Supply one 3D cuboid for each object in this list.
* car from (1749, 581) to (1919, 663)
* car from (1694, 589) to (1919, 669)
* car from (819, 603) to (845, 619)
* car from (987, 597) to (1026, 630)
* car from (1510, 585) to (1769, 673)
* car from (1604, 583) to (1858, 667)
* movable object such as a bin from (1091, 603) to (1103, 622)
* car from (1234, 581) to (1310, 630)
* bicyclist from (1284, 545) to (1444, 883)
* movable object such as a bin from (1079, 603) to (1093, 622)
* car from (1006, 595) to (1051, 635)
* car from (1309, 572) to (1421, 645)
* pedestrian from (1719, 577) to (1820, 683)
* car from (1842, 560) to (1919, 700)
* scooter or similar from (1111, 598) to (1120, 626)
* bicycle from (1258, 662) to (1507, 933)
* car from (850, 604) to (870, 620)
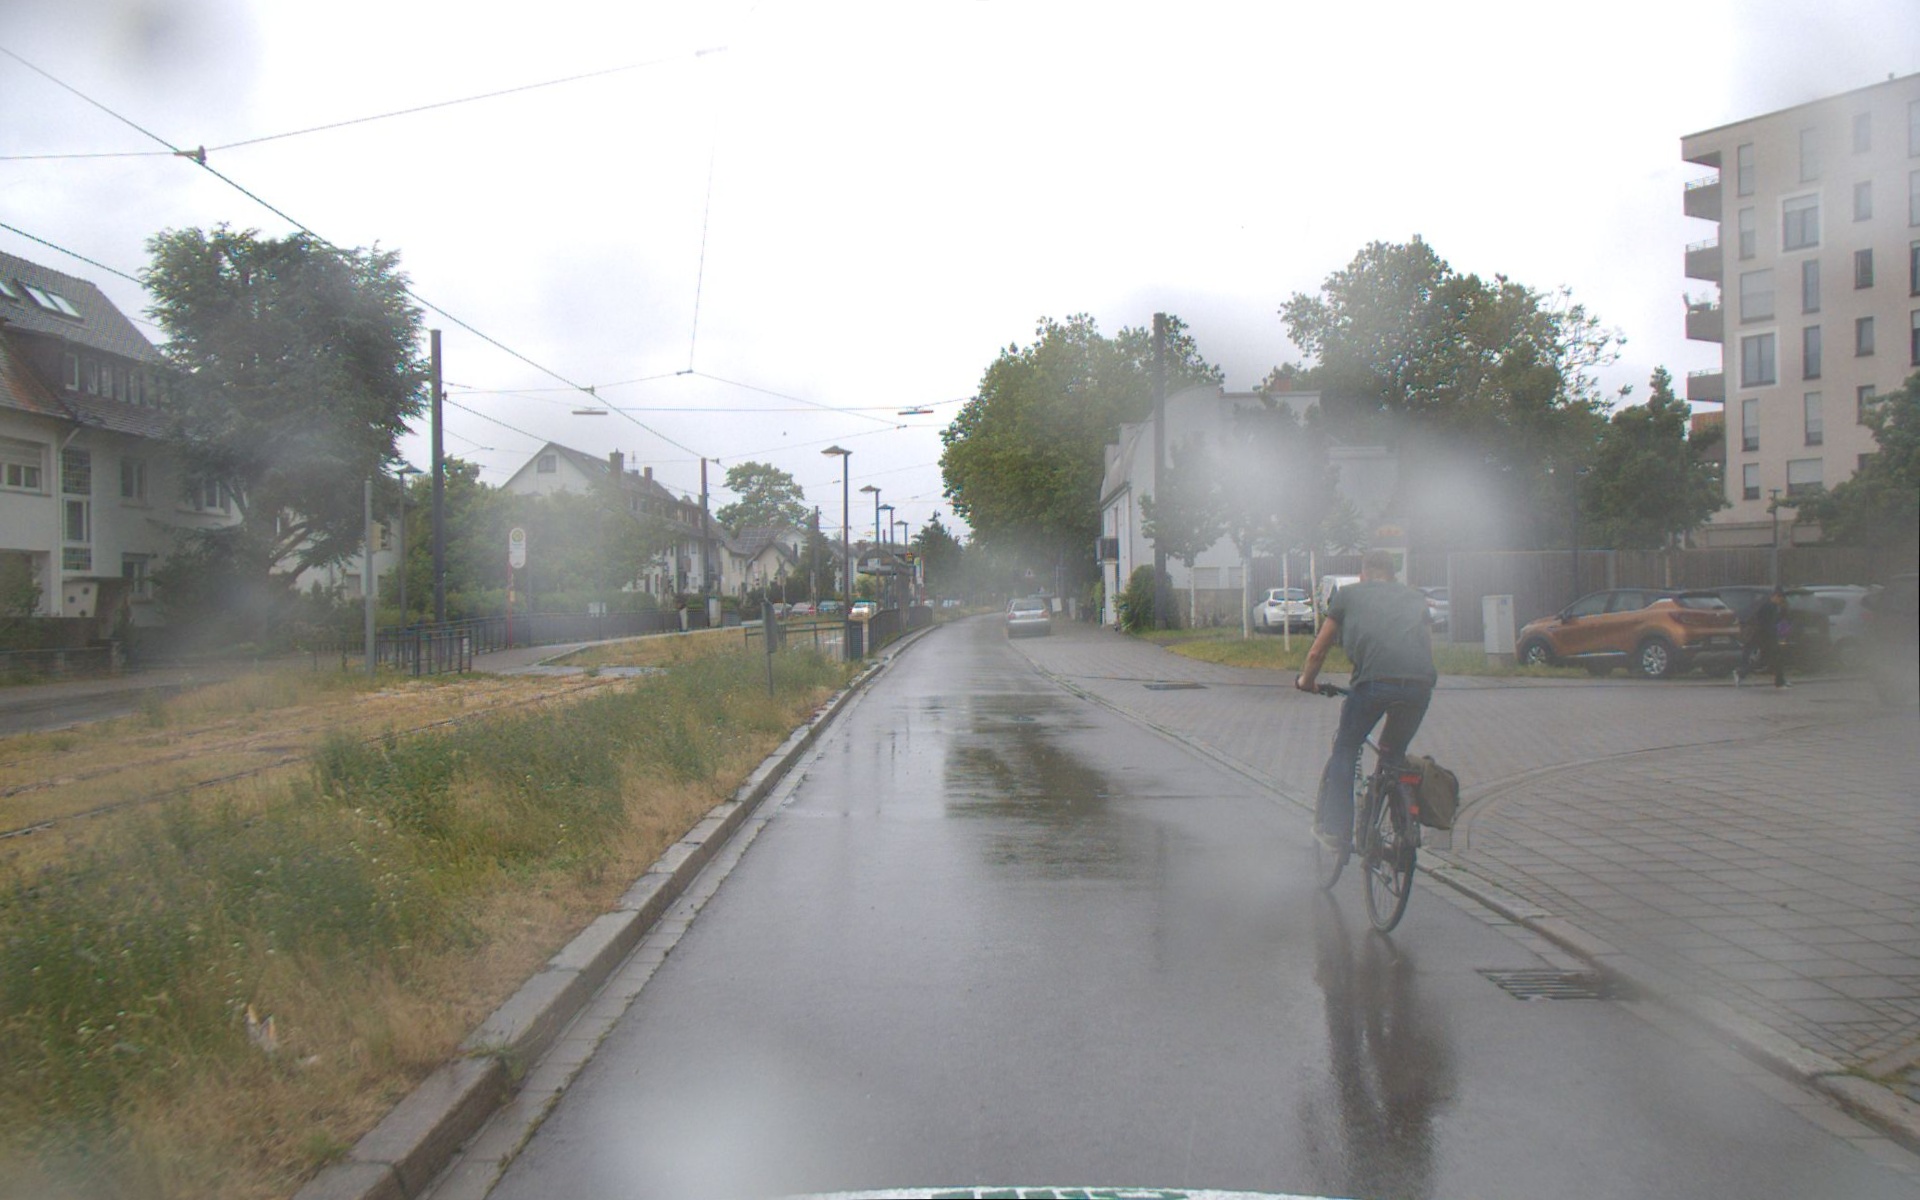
[{"bbox_3d":[18.800,0.412,34.016,1.946,1.614,4.311,0,1,-34],"label":"car"},{"bbox_3d":[16.867,0.561,32.700,1.971,1.466,3.963,1,-1,-28],"label":"car"},{"bbox_3d":[-12.142,1.087,156.849,1.888,1.512,4.002,0,-1,4],"label":"car"},{"bbox_3d":[2.298,0.670,82.238,1.770,1.493,3.794,-4,-1,1],"label":"car"},{"bbox_3d":[12.063,0.514,29.610,1.971,1.466,3.963,1,-1,-28],"label":"car"},{"bbox_3d":[14.421,0.475,31.147,1.971,1.466,3.963,1,-1,-28],"label":"car"},{"bbox_3d":[7.541,0.691,90.910,0.525,1.039,0.738,-3,-1,0],"label":"movable object such as a bin"},{"bbox_3d":[10.436,0.156,55.617,1.922,1.561,4.365,0,1,2],"label":"car"},{"bbox_3d":[1.981,0.540,8.181,0.524,1.587,0.771,0,-1,-7],"label":"bicyclist"},{"bbox_3d":[6.988,0.697,91.636,0.678,1.039,0.824,-3,-1,0],"label":"movable object such as a bin"},{"bbox_3d":[2.708,0.634,66.252,1.616,1.430,4.650,-4,-1,1],"label":"car"},{"bbox_3d":[10.537,0.189,43.389,1.922,1.815,4.898,0,1,2],"label":"car"},{"bbox_3d":[12.154,0.449,24.842,0.826,1.544,1.084,1,-1,-30],"label":"pedestrian"},{"bbox_3d":[13.001,0.370,20.561,4.059,1.645,1.796,1,0,-32],"label":"car"},{"bbox_3d":[6.109,0.483,64.999,0.326,1.104,1.396,0,-1,6],"label":"scooter or similar"},{"bbox_3d":[1.993,0.882,8.082,0.526,1.112,1.946,0,-1,-6],"label":"bicycle"},{"bbox_3d":[-9.572,1.194,158.912,1.599,1.519,4.001,0,-1,2],"label":"car"}]
